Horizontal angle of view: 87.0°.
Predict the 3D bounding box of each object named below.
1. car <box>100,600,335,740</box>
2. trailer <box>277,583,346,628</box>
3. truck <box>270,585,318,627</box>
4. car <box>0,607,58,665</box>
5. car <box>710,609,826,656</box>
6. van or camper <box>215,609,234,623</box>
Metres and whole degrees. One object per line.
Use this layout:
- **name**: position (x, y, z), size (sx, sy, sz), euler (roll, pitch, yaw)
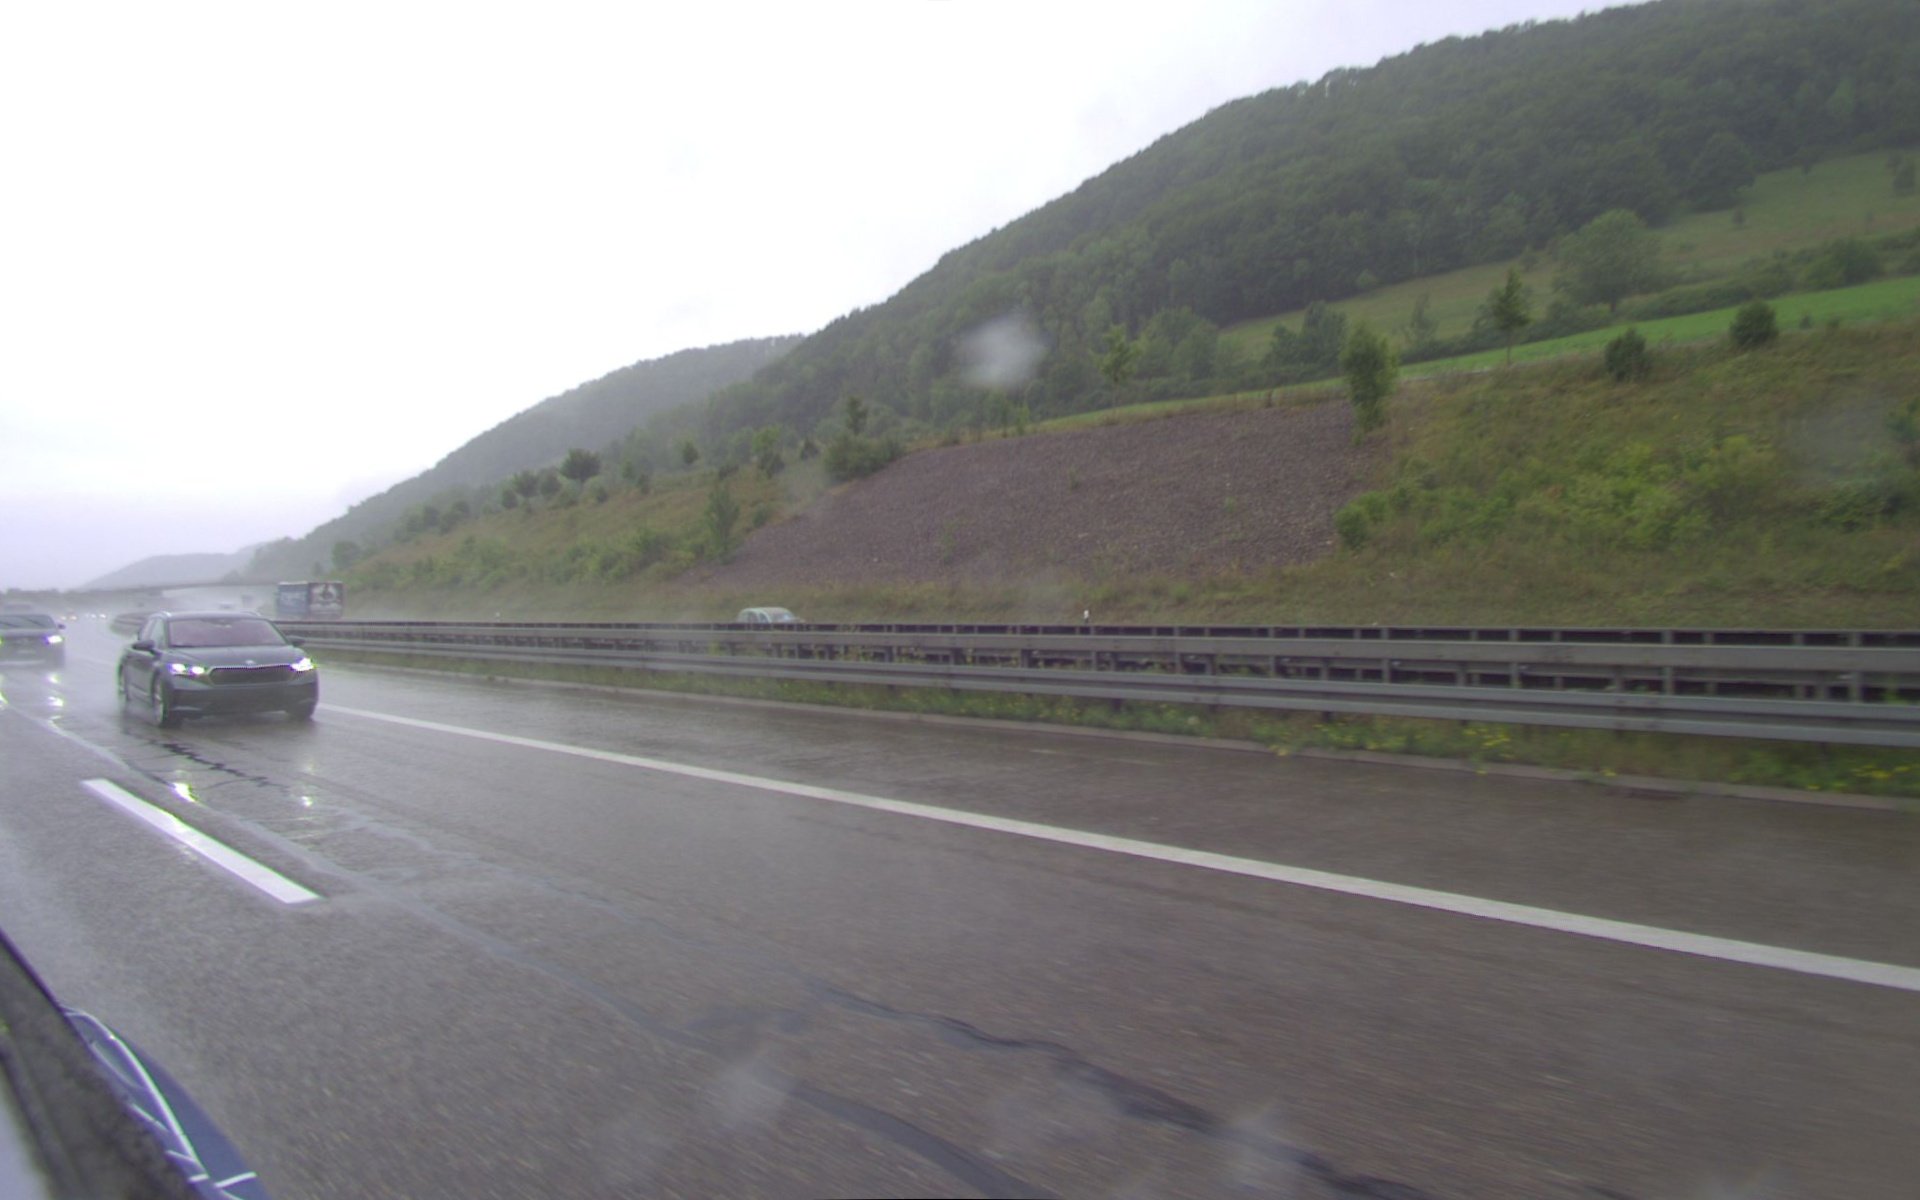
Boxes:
- **car**: position (-11.257, 0.896, 15.186), size (4.910, 1.695, 1.972), euler (-1, 2, 44)
- **trailer**: position (-56.827, 0.509, 88.413), size (2.780, 3.709, 13.260), euler (0, -1, -43)
- **truck**: position (-61.658, 0.577, 93.670), size (2.747, 3.711, 6.214), euler (0, -1, -43)
- **car**: position (-29.919, 1.100, 32.136), size (1.789, 1.715, 3.752), euler (-2, 1, -43)
- **car**: position (-6.236, 1.031, 32.743), size (3.775, 1.431, 1.774), euler (-1, -1, 42)
- **van or camper**: position (-139.382, 2.984, 191.830), size (2.315, 2.583, 7.216), euler (-1, 0, -41)
